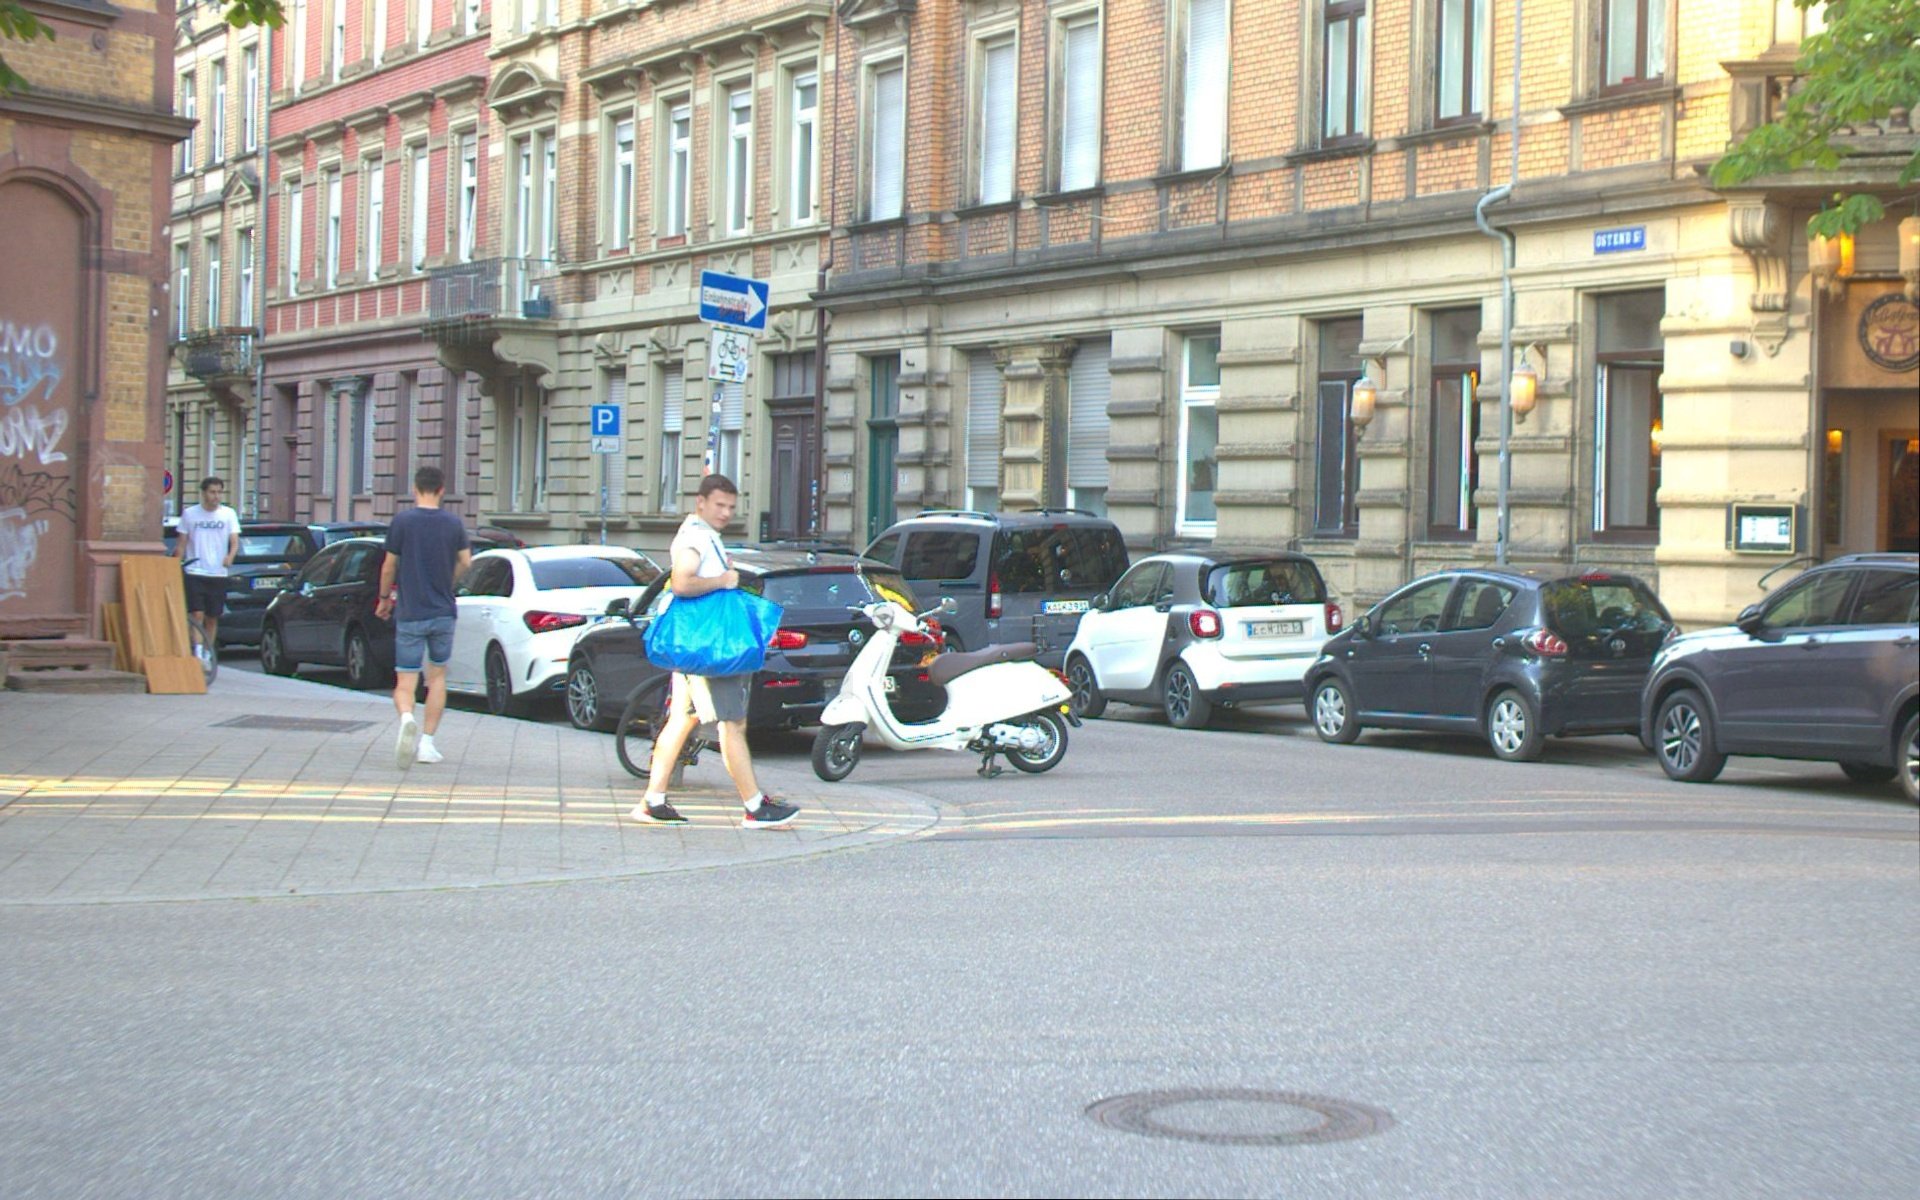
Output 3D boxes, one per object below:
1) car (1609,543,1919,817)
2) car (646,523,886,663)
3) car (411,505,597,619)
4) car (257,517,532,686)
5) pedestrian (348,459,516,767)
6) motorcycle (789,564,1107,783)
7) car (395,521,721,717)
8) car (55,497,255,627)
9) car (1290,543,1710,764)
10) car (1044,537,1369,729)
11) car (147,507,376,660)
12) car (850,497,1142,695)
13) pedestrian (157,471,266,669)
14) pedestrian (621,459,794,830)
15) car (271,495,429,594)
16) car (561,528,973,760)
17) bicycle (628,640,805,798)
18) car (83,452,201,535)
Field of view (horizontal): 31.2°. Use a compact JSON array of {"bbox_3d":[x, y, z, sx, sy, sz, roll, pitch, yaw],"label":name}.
[{"bbox_3d":[6.237,0.512,22.485,1.914,1.520,3.897,2,3,-25],"label":"car"},{"bbox_3d":[-2.249,-0.100,39.222,1.674,1.426,3.016,2,2,-25],"label":"car"},{"bbox_3d":[-6.372,-0.548,47.855,1.674,1.426,3.016,2,2,-25],"label":"car"},{"bbox_3d":[-5.689,-0.023,34.218,1.654,1.426,3.897,2,2,-25],"label":"car"},{"bbox_3d":[-3.200,0.064,20.772,0.735,1.798,1.122,1,2,-21],"label":"pedestrian"},{"bbox_3d":[-0.084,0.469,22.115,1.931,1.336,0.577,1,2,-11],"label":"motorcycle"},{"bbox_3d":[-3.583,0.122,29.958,1.654,1.426,4.168,2,2,-23],"label":"car"},{"bbox_3d":[-10.266,-0.512,43.663,1.654,1.426,3.897,2,2,-25],"label":"car"},{"bbox_3d":[4.171,0.378,27.002,1.674,1.520,3.244,1,2,-25],"label":"car"},{"bbox_3d":[2.145,0.269,30.511,1.674,1.520,2.768,2,2,-25],"label":"car"},{"bbox_3d":[-8.074,-0.221,39.508,1.654,1.519,3.897,2,2,-25],"label":"car"},{"bbox_3d":[0.313,-0.064,33.980,1.674,1.776,3.016,2,2,-25],"label":"car"},{"bbox_3d":[-6.973,-0.286,32.030,0.840,1.798,0.776,1,2,-21],"label":"pedestrian"},{"bbox_3d":[-1.309,0.211,17.691,0.815,1.846,0.803,2,2,-5],"label":"pedestrian"},{"bbox_3d":[-9.688,-0.896,54.470,1.674,1.426,3.016,2,2,-25],"label":"car"},{"bbox_3d":[-1.523,0.282,25.555,1.654,1.426,3.991,2,2,-25],"label":"car"},{"bbox_3d":[-1.401,0.675,19.989,0.425,0.819,1.460,3,2,21],"label":"bicycle"},{"bbox_3d":[-16.431,-2.149,68.945,1.674,1.533,3.016,2,2,-25],"label":"car"}]
